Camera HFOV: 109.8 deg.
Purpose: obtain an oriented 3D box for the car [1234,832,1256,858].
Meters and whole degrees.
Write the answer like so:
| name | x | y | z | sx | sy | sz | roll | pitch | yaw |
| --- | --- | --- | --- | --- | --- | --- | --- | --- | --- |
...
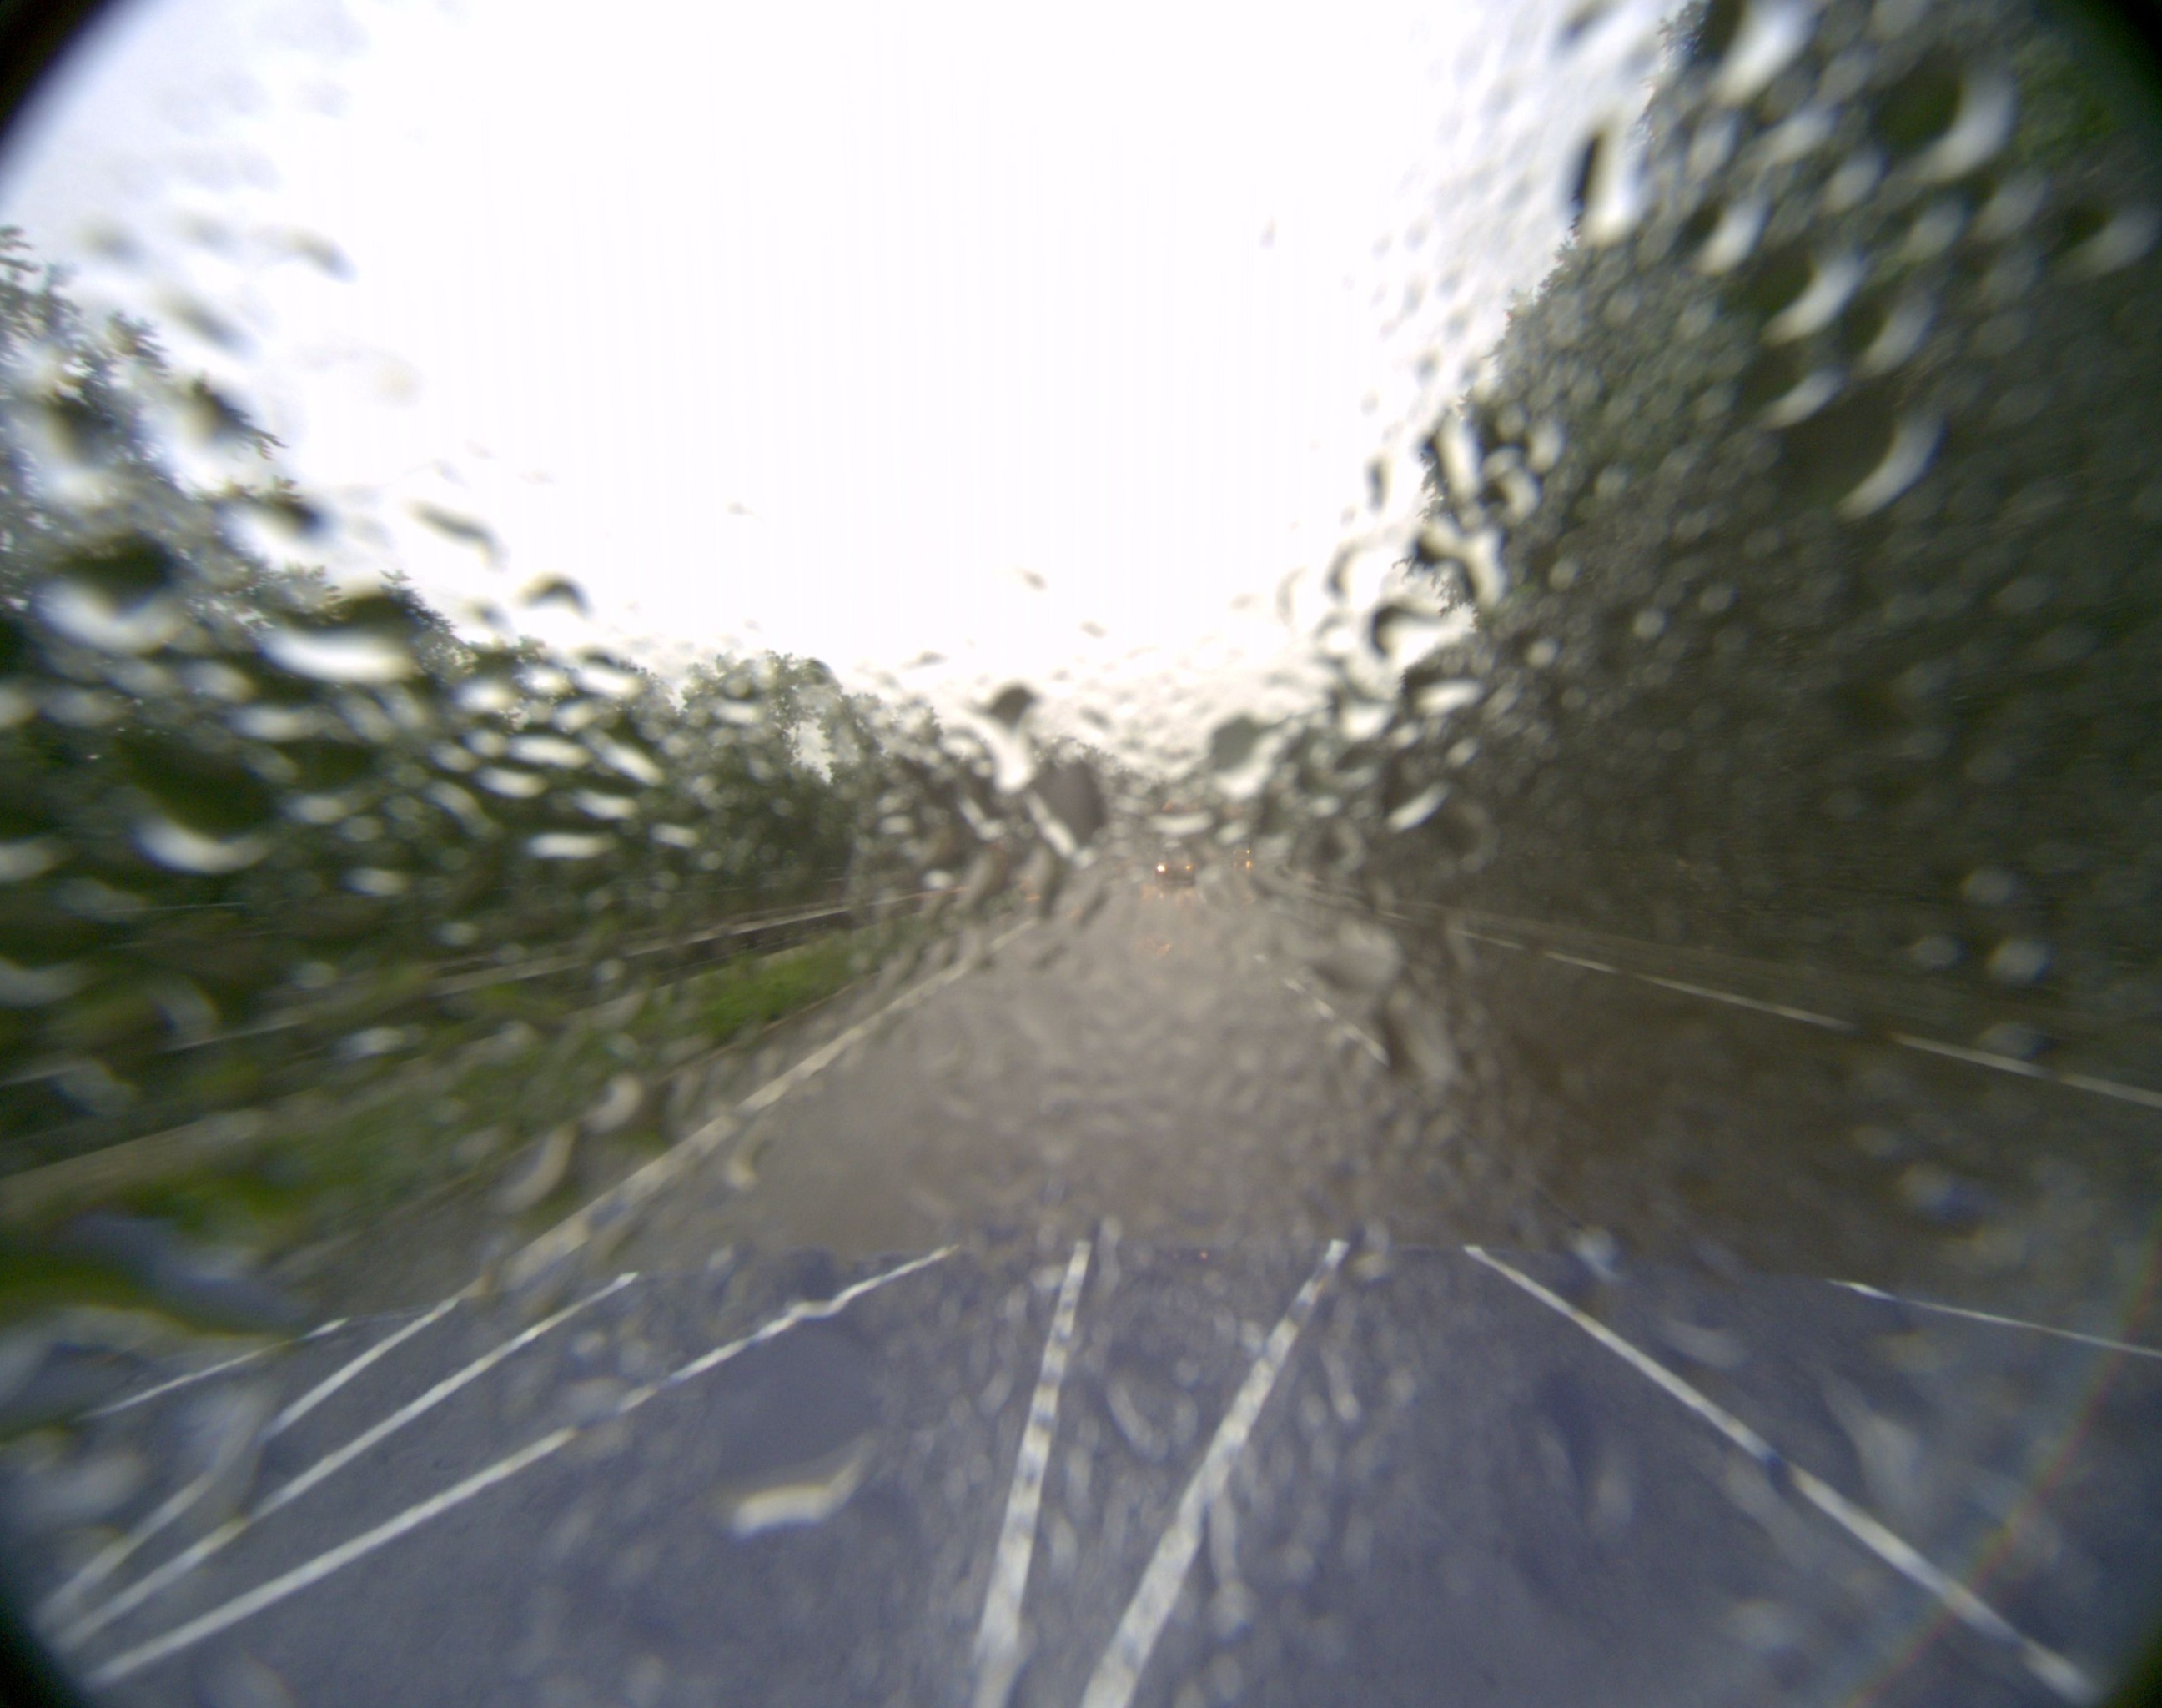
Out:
| name | x | y | z | sx | sy | sz | roll | pitch | yaw |
| --- | --- | --- | --- | --- | --- | --- | --- | --- | --- |
| car | 20.038 | -1.116 | 92.758 | 1.739 | 3.008 | 4.006 | -1 | 1 | 24 |

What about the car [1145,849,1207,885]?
| name | x | y | z | sx | sy | sz | roll | pitch | yaw |
| --- | --- | --- | --- | --- | --- | --- | --- | --- | --- |
| car | 4.638 | 0.549 | 36.166 | 2.357 | 1.549 | 5.504 | -1 | 1 | 13 |
